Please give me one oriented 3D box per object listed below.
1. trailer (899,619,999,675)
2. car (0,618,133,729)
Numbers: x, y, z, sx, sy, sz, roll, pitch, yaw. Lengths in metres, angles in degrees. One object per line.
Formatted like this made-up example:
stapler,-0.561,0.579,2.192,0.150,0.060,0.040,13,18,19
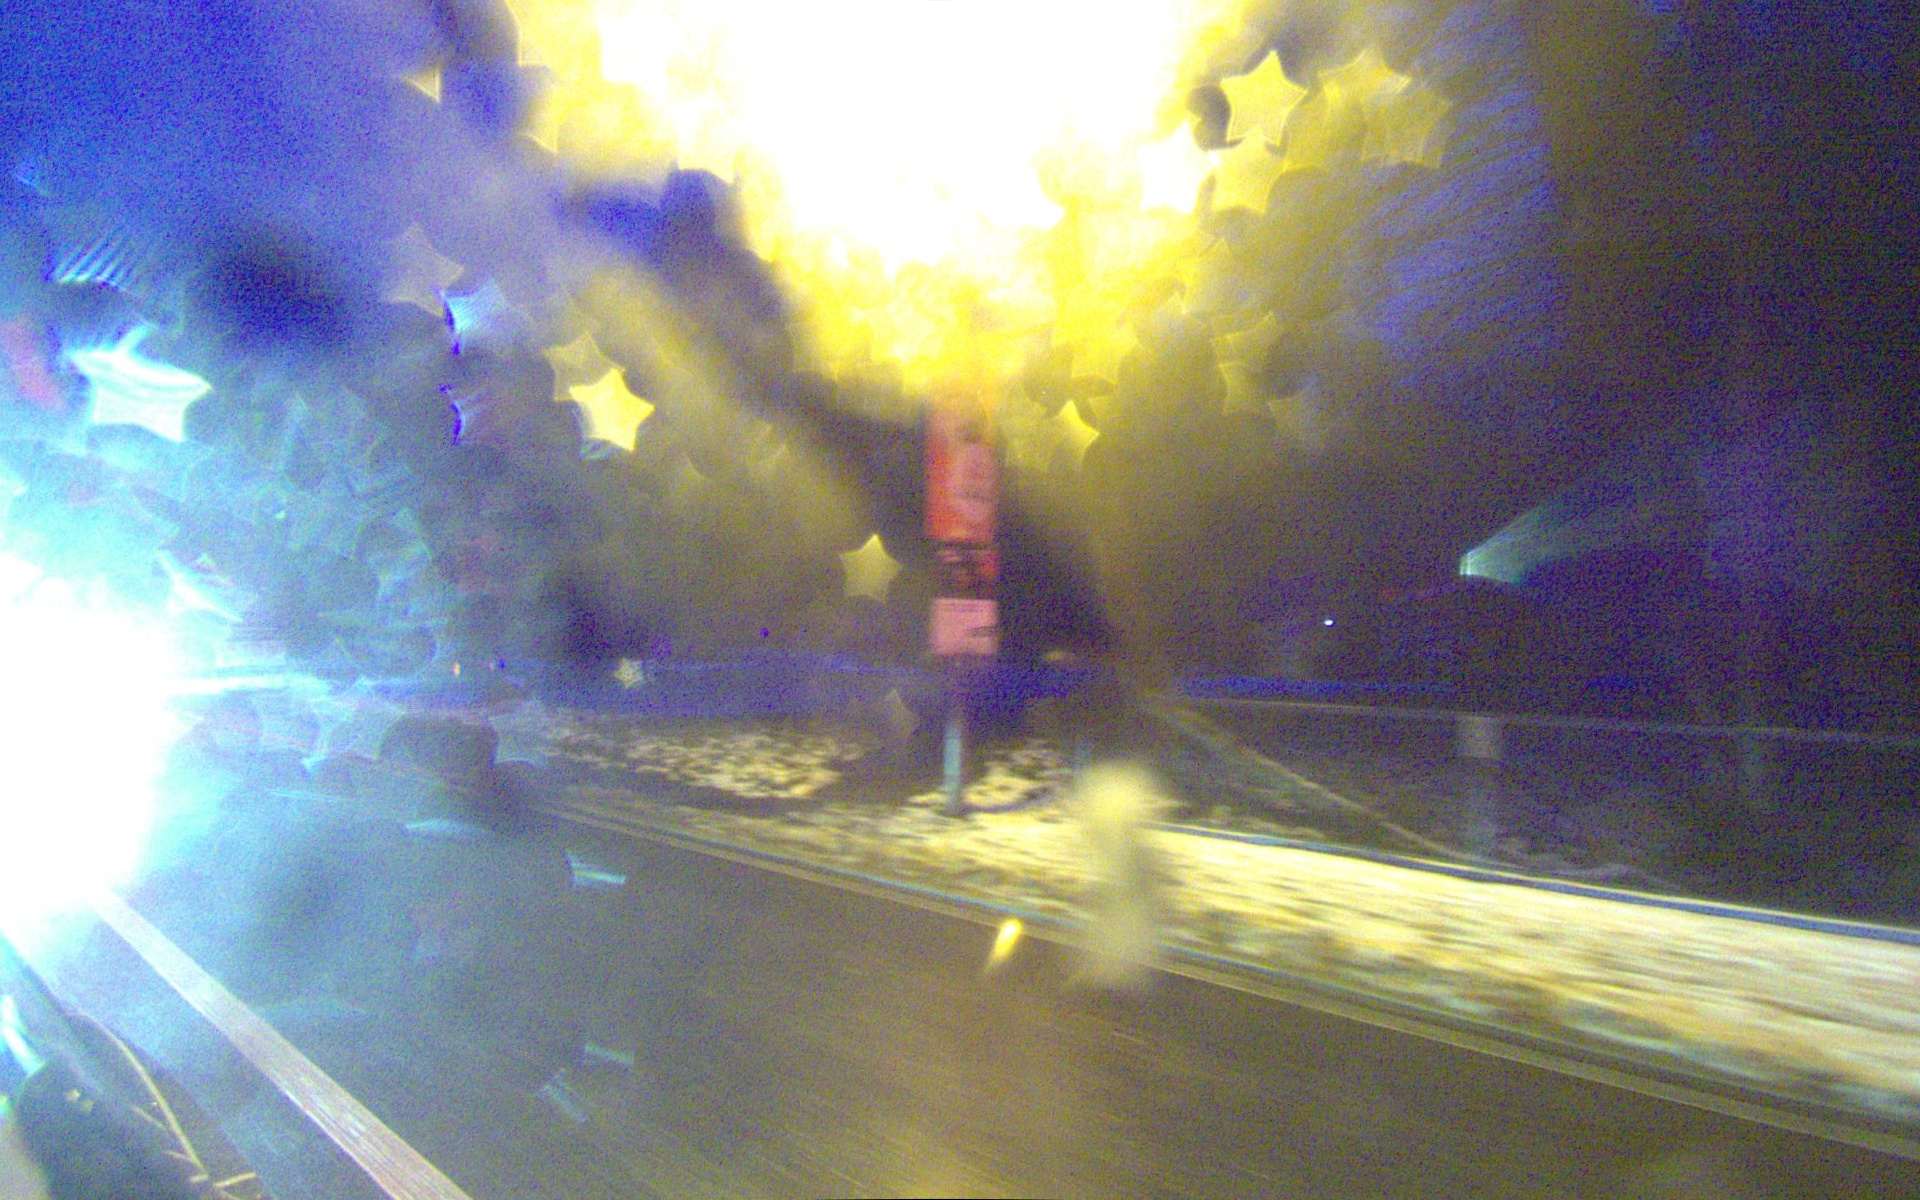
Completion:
trailer,-0.455,2.036,43.763,3.745,2.234,1.980,4,-2,-30
car,-14.736,1.154,16.073,4.355,1.557,1.853,-4,-5,43
